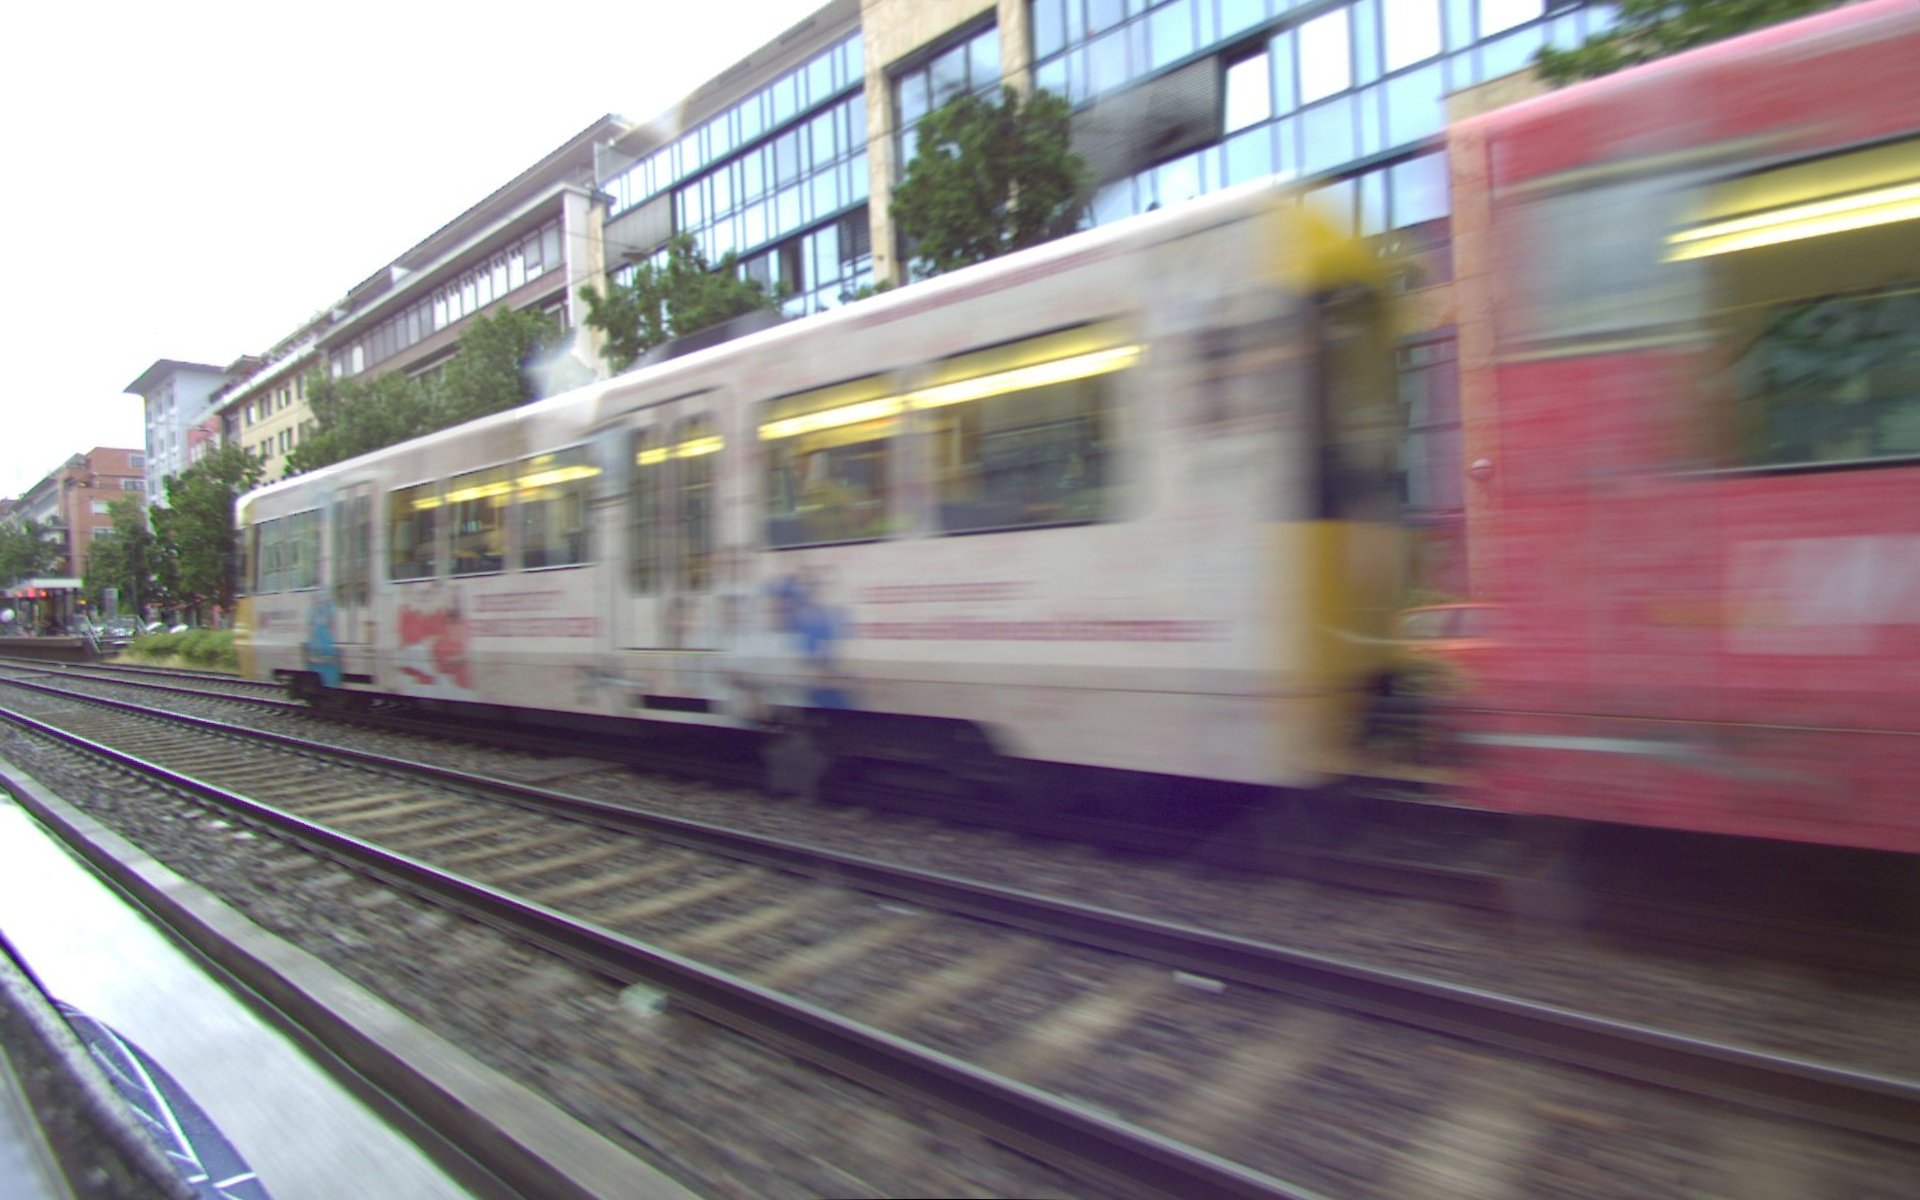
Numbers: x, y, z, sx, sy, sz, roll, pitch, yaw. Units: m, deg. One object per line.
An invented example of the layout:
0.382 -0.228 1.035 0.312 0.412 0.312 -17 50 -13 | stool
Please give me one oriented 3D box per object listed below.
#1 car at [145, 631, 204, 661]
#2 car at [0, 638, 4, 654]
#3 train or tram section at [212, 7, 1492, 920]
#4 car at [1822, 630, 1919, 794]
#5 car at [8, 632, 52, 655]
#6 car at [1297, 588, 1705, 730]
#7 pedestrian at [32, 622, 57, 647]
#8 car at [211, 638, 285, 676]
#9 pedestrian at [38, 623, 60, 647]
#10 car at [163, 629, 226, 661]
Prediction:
-46.935 2.724 60.456 3.996 1.674 1.973 -2 -2 40 | car
-106.833 5.098 111.325 3.996 1.674 1.974 -2 -1 40 | car
-4.396 -0.408 11.644 18.401 4.081 2.872 -2 -1 41 | train or tram section
10.627 1.029 9.205 4.190 1.509 1.632 -2 -2 41 | car
-70.878 3.336 77.116 3.996 1.674 1.973 -2 -2 40 | car
6.707 0.698 12.850 4.291 1.509 1.632 -2 -2 41 | car
-50.575 1.904 55.921 0.637 1.396 0.946 -2 -2 38 | pedestrian
-34.438 2.735 48.923 3.996 1.674 1.973 -2 -2 40 | car
-50.025 1.915 55.570 0.637 1.265 0.805 -2 -2 38 | pedestrian
-43.146 2.535 57.004 3.996 1.674 1.973 -2 -2 40 | car
